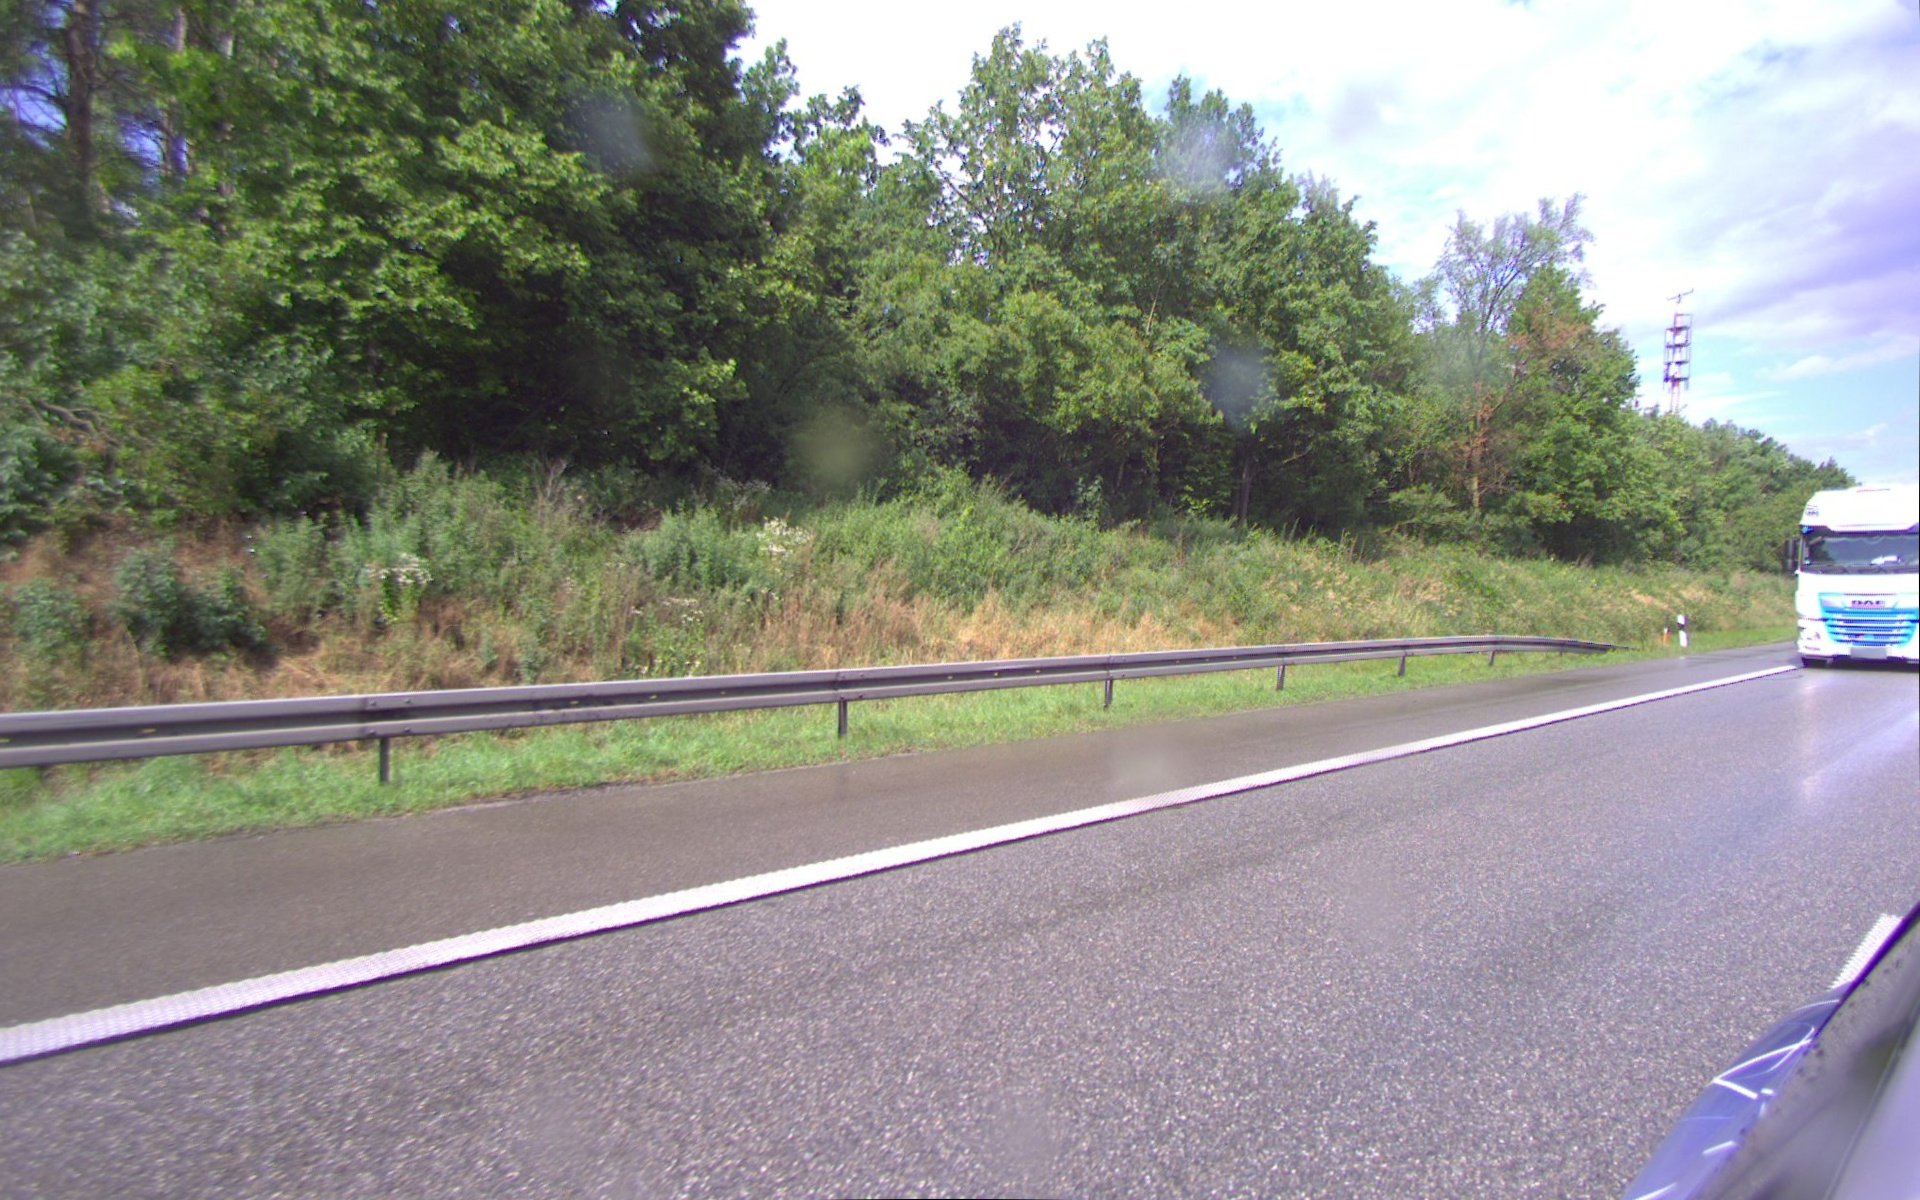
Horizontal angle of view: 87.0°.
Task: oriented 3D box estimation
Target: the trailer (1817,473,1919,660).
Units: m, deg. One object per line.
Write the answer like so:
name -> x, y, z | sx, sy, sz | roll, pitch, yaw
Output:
trailer -> 25.735, -0.781, 26.868 | 13.822, 4.046, 2.638 | -1, 0, -42

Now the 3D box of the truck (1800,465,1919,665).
truck -> 21.734, -0.739, 23.310 | 7.164, 4.046, 2.610 | 0, 0, -42
